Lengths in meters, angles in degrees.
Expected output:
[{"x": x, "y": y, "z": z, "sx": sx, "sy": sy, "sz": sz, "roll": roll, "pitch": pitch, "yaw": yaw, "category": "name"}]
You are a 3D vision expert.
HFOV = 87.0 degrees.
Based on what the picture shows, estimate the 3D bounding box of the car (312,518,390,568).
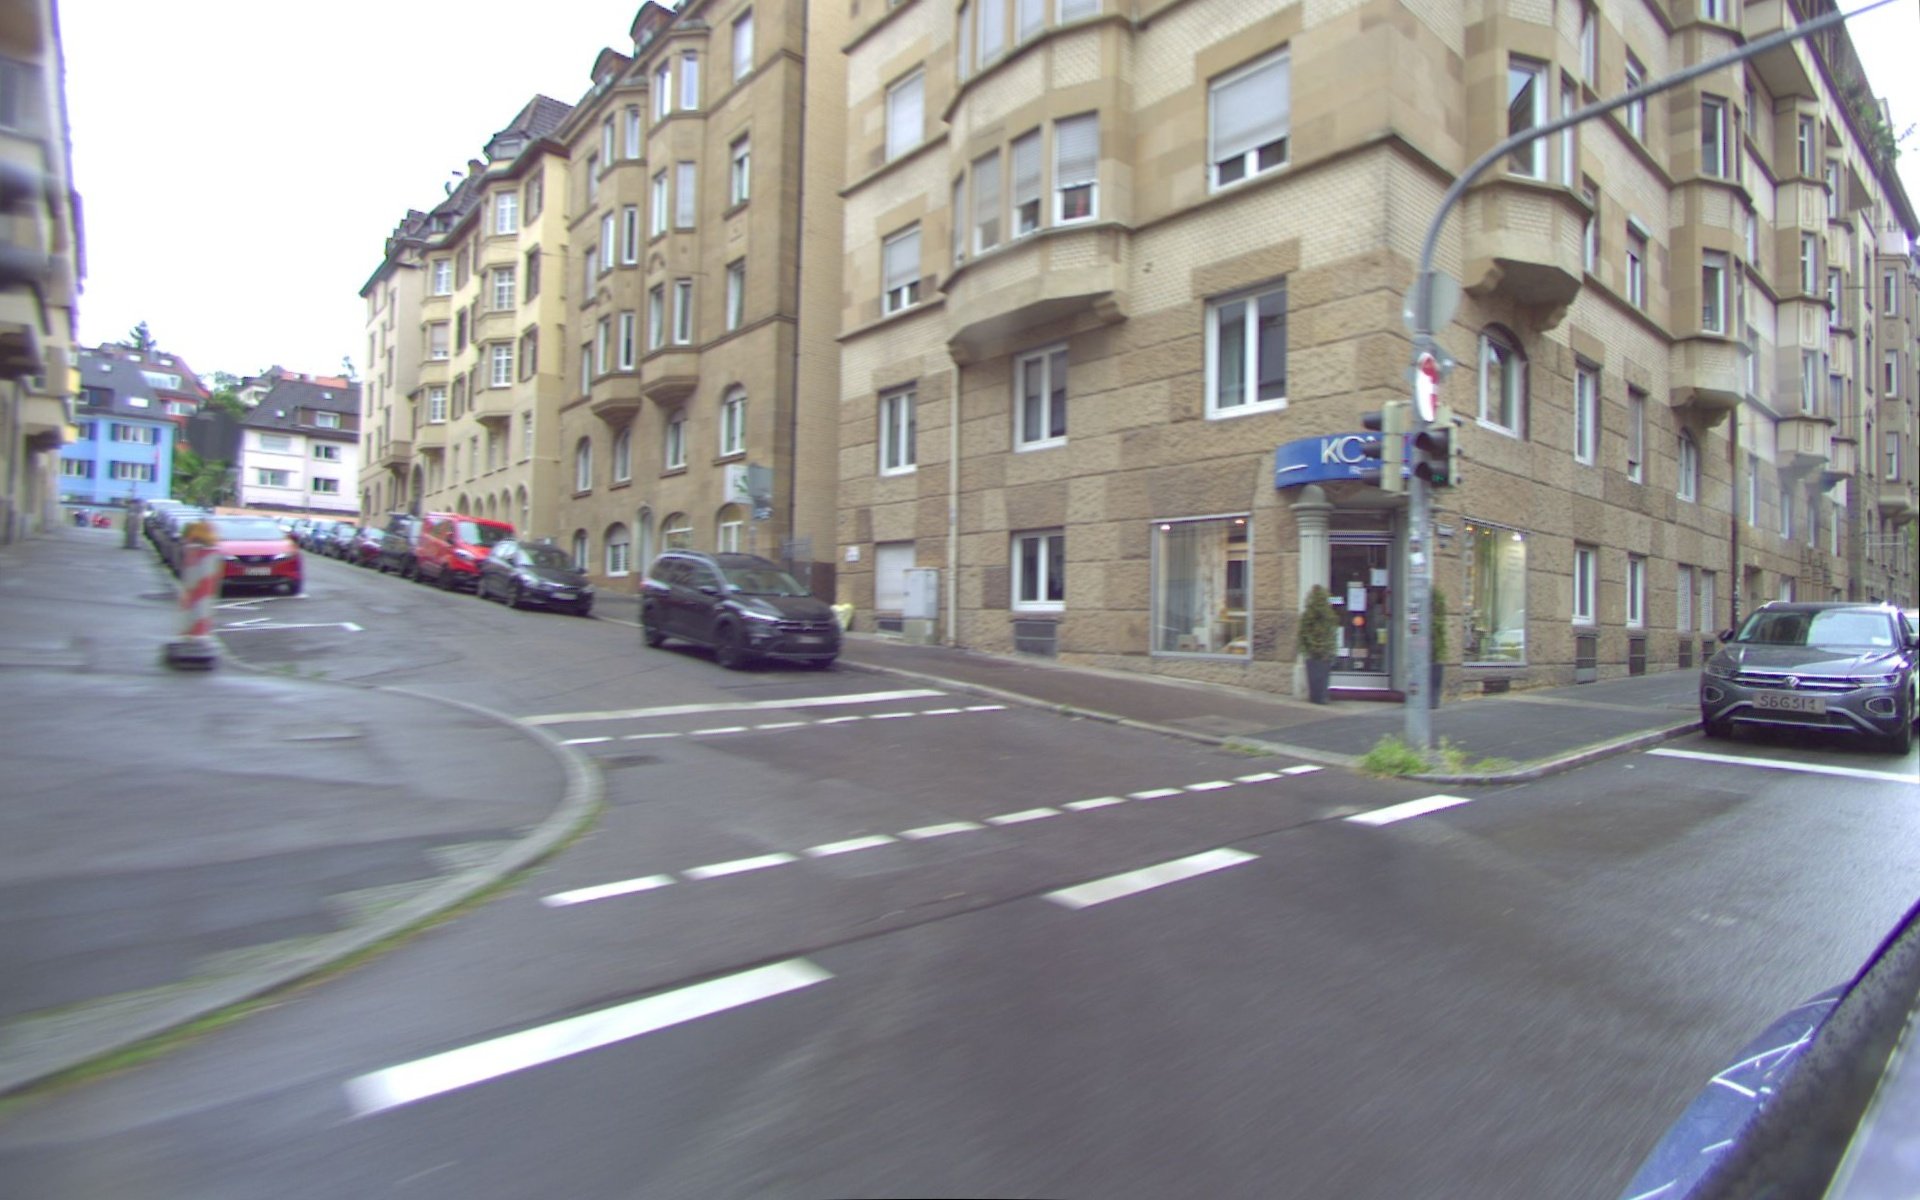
[{"x": -25.131, "y": -2.365, "z": 41.674, "sx": 1.966, "sy": 1.670, "sz": 4.355, "roll": 8, "pitch": -1, "yaw": -40, "category": "car"}]

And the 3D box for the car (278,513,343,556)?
[{"x": -31.154, "y": -3.154, "z": 48.500, "sx": 1.966, "sy": 1.670, "sz": 4.355, "roll": 8, "pitch": -1, "yaw": -40, "category": "car"}]

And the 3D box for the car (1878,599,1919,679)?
[{"x": 19.680, "y": 0.754, "z": 20.166, "sx": 3.459, "sy": 1.505, "sz": 1.598, "roll": 0, "pitch": 1, "yaw": -40, "category": "car"}]

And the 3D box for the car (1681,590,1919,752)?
[{"x": 10.123, "y": 0.694, "z": 11.812, "sx": 3.920, "sy": 1.568, "sz": 1.871, "roll": 0, "pitch": -1, "yaw": -40, "category": "car"}]

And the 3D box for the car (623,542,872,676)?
[{"x": -3.479, "y": 0.047, "z": 15.899, "sx": 1.841, "sy": 1.672, "sz": 4.521, "roll": 2, "pitch": 3, "yaw": -40, "category": "car"}]

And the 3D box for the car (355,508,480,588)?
[{"x": -17.497, "y": -1.723, "z": 32.522, "sx": 2.361, "sy": 2.067, "sz": 5.090, "roll": 8, "pitch": -1, "yaw": -40, "category": "car"}]

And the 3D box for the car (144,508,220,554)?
[{"x": -28.847, "y": -2.589, "z": 37.456, "sx": 2.002, "sy": 1.587, "sz": 4.469, "roll": -3, "pitch": 6, "yaw": -40, "category": "car"}]

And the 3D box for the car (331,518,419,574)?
[{"x": -21.886, "y": -2.058, "z": 37.764, "sx": 1.966, "sy": 1.670, "sz": 4.355, "roll": 8, "pitch": -1, "yaw": -40, "category": "car"}]

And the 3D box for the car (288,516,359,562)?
[{"x": -28.340, "y": -2.732, "z": 44.988, "sx": 1.966, "sy": 1.670, "sz": 4.355, "roll": 8, "pitch": -1, "yaw": -40, "category": "car"}]

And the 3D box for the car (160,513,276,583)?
[{"x": -18.730, "y": -1.383, "z": 25.469, "sx": 1.945, "sy": 1.587, "sz": 4.367, "roll": -3, "pitch": 6, "yaw": -41, "category": "car"}]

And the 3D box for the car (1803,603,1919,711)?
[{"x": 14.252, "y": 0.793, "z": 15.429, "sx": 3.473, "sy": 1.471, "sz": 1.707, "roll": 0, "pitch": -1, "yaw": -43, "category": "car"}]

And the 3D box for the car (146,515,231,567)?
[{"x": -25.924, "y": -2.025, "z": 33.957, "sx": 1.945, "sy": 1.587, "sz": 4.367, "roll": -3, "pitch": 6, "yaw": -41, "category": "car"}]

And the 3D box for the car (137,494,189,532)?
[{"x": -43.657, "y": -4.765, "z": 55.395, "sx": 1.945, "sy": 2.020, "sz": 4.367, "roll": -3, "pitch": 6, "yaw": -41, "category": "car"}]

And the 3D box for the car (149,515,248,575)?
[{"x": -22.291, "y": -1.657, "z": 29.566, "sx": 1.945, "sy": 1.587, "sz": 4.367, "roll": -3, "pitch": 6, "yaw": -41, "category": "car"}]

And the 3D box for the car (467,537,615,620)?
[{"x": -9.966, "y": -0.563, "z": 23.840, "sx": 1.825, "sy": 1.481, "sz": 4.686, "roll": 9, "pitch": -2, "yaw": -39, "category": "car"}]

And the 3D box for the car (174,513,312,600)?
[{"x": -15.570, "y": -1.015, "z": 21.891, "sx": 1.945, "sy": 1.586, "sz": 4.367, "roll": -3, "pitch": 7, "yaw": -41, "category": "car"}]

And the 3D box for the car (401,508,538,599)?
[{"x": -13.674, "y": -1.348, "z": 28.027, "sx": 2.035, "sy": 2.067, "sz": 5.090, "roll": 8, "pitch": -1, "yaw": -40, "category": "car"}]

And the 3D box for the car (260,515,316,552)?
[{"x": -37.157, "y": -3.699, "z": 55.917, "sx": 1.966, "sy": 1.670, "sz": 4.355, "roll": 8, "pitch": -1, "yaw": -40, "category": "car"}]
